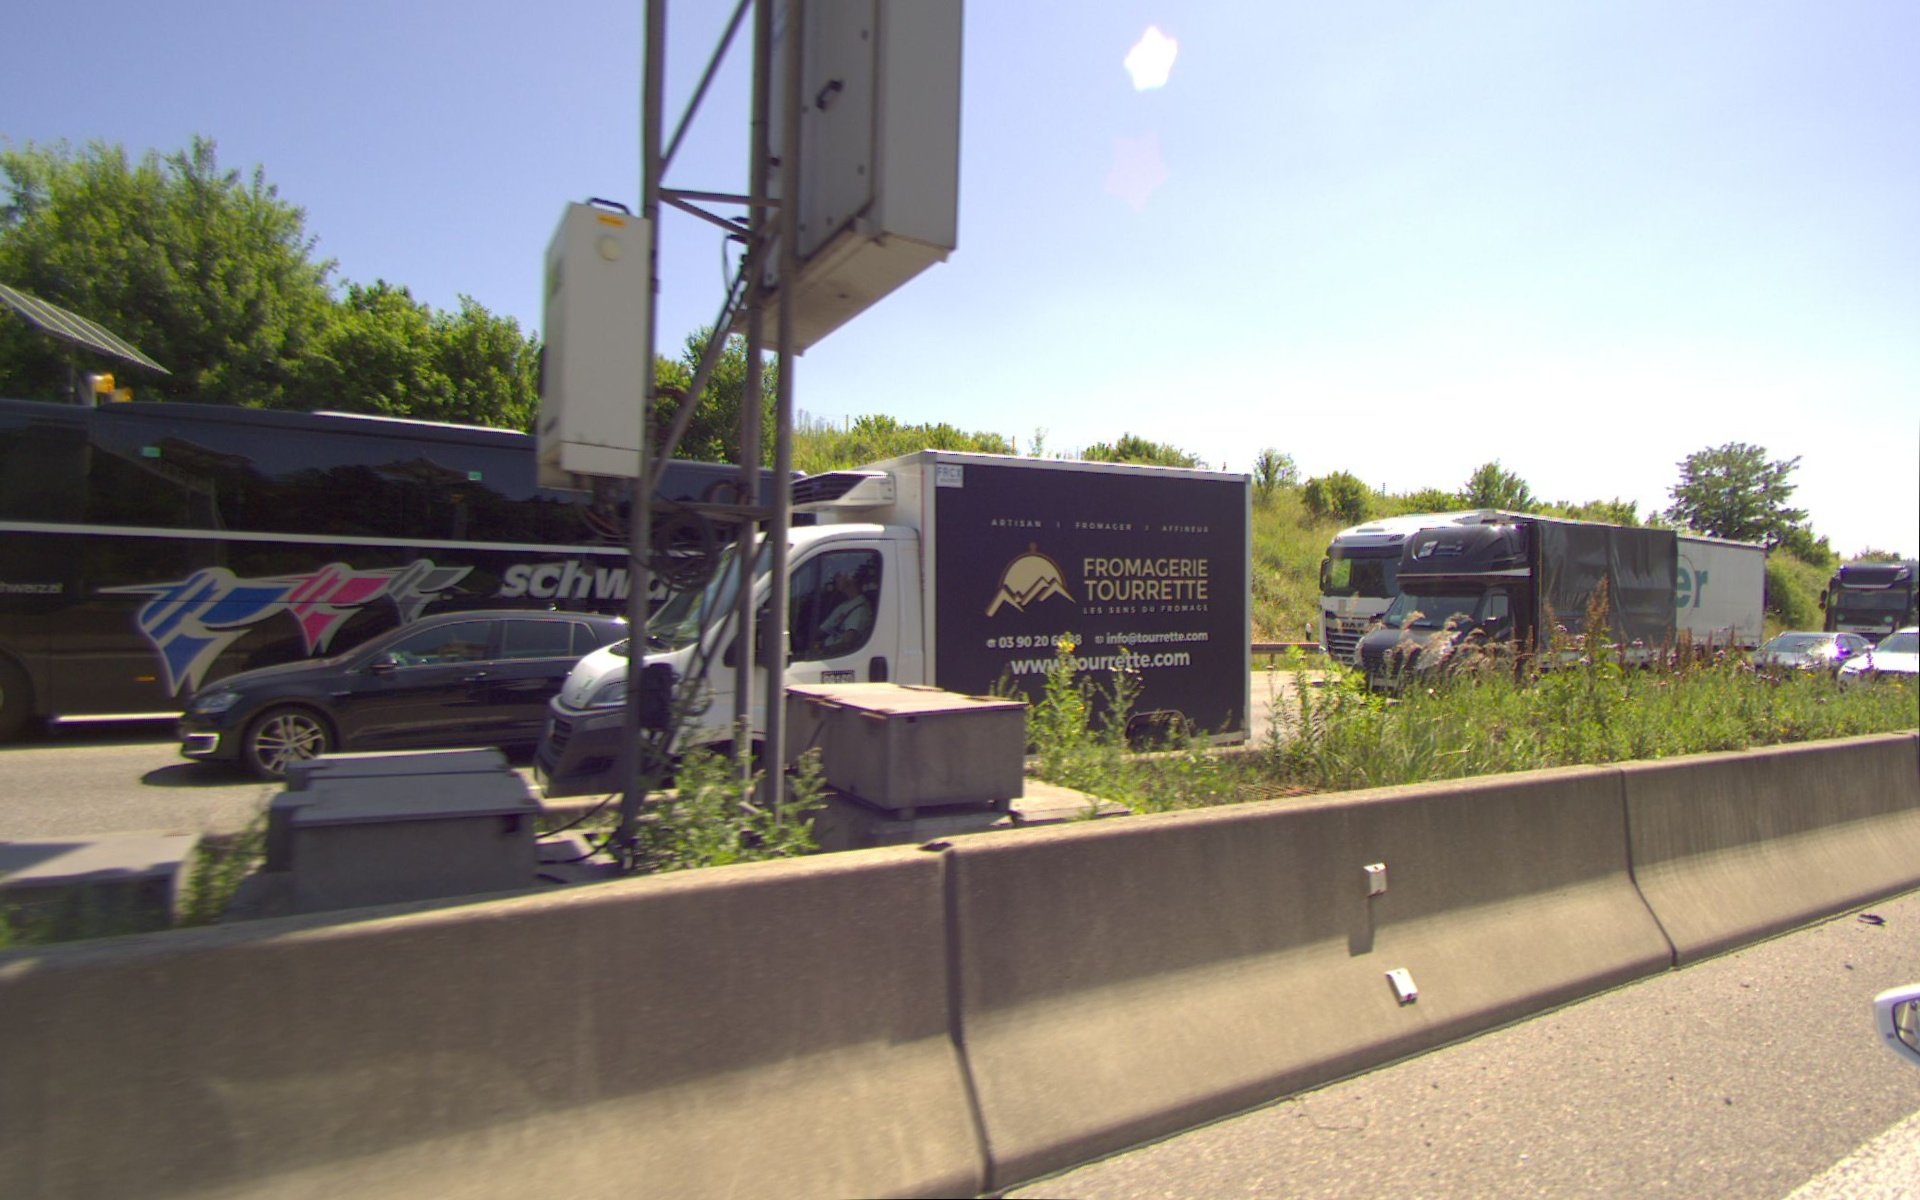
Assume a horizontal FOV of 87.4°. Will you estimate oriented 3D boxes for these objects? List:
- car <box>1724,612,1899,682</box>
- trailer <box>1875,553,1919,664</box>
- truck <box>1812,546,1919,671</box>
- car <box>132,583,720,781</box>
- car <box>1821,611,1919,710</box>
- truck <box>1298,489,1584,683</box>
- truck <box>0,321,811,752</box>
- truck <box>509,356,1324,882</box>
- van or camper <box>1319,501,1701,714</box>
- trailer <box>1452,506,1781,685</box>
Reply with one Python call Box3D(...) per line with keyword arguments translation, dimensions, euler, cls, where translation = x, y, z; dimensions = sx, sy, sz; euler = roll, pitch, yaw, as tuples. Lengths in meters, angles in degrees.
Box3D(translation=(21.110, 1.157, 24.870), dimensions=(4.773, 1.557, 1.803), euler=(2, 0, -30), cls="car")
Box3D(translation=(42.016, 0.496, 41.765), dimensions=(10.666, 4.297, 2.776), euler=(2, 0, -30), cls="trailer")
Box3D(translation=(35.368, 0.413, 37.901), dimensions=(6.947, 4.362, 2.768), euler=(2, -1, -30), cls="truck")
Box3D(translation=(-4.946, 0.739, 9.934), dimensions=(4.704, 1.569, 1.767), euler=(2, -2, -30), cls="car")
Box3D(translation=(18.194, 1.106, 18.649), dimensions=(4.971, 1.655, 1.803), euler=(2, 0, -30), cls="car")
Box3D(translation=(11.758, -0.186, 24.415), dimensions=(6.944, 4.168, 2.769), euler=(2, -1, -29), cls="truck")
Box3D(translation=(-7.818, -0.559, 12.775), dimensions=(11.354, 4.278, 3.041), euler=(2, 0, -31), cls="truck")
Box3D(translation=(-0.092, 0.185, 7.968), dimensions=(6.139, 2.879, 2.110), euler=(2, 0, -30), cls="truck")
Box3D(translation=(10.596, 0.216, 19.080), dimensions=(7.847, 3.404, 2.518), euler=(2, 0, -29), cls="van or camper")
Box3D(translation=(18.915, 0.063, 28.529), dimensions=(11.568, 4.362, 2.769), euler=(2, -1, -29), cls="trailer")
